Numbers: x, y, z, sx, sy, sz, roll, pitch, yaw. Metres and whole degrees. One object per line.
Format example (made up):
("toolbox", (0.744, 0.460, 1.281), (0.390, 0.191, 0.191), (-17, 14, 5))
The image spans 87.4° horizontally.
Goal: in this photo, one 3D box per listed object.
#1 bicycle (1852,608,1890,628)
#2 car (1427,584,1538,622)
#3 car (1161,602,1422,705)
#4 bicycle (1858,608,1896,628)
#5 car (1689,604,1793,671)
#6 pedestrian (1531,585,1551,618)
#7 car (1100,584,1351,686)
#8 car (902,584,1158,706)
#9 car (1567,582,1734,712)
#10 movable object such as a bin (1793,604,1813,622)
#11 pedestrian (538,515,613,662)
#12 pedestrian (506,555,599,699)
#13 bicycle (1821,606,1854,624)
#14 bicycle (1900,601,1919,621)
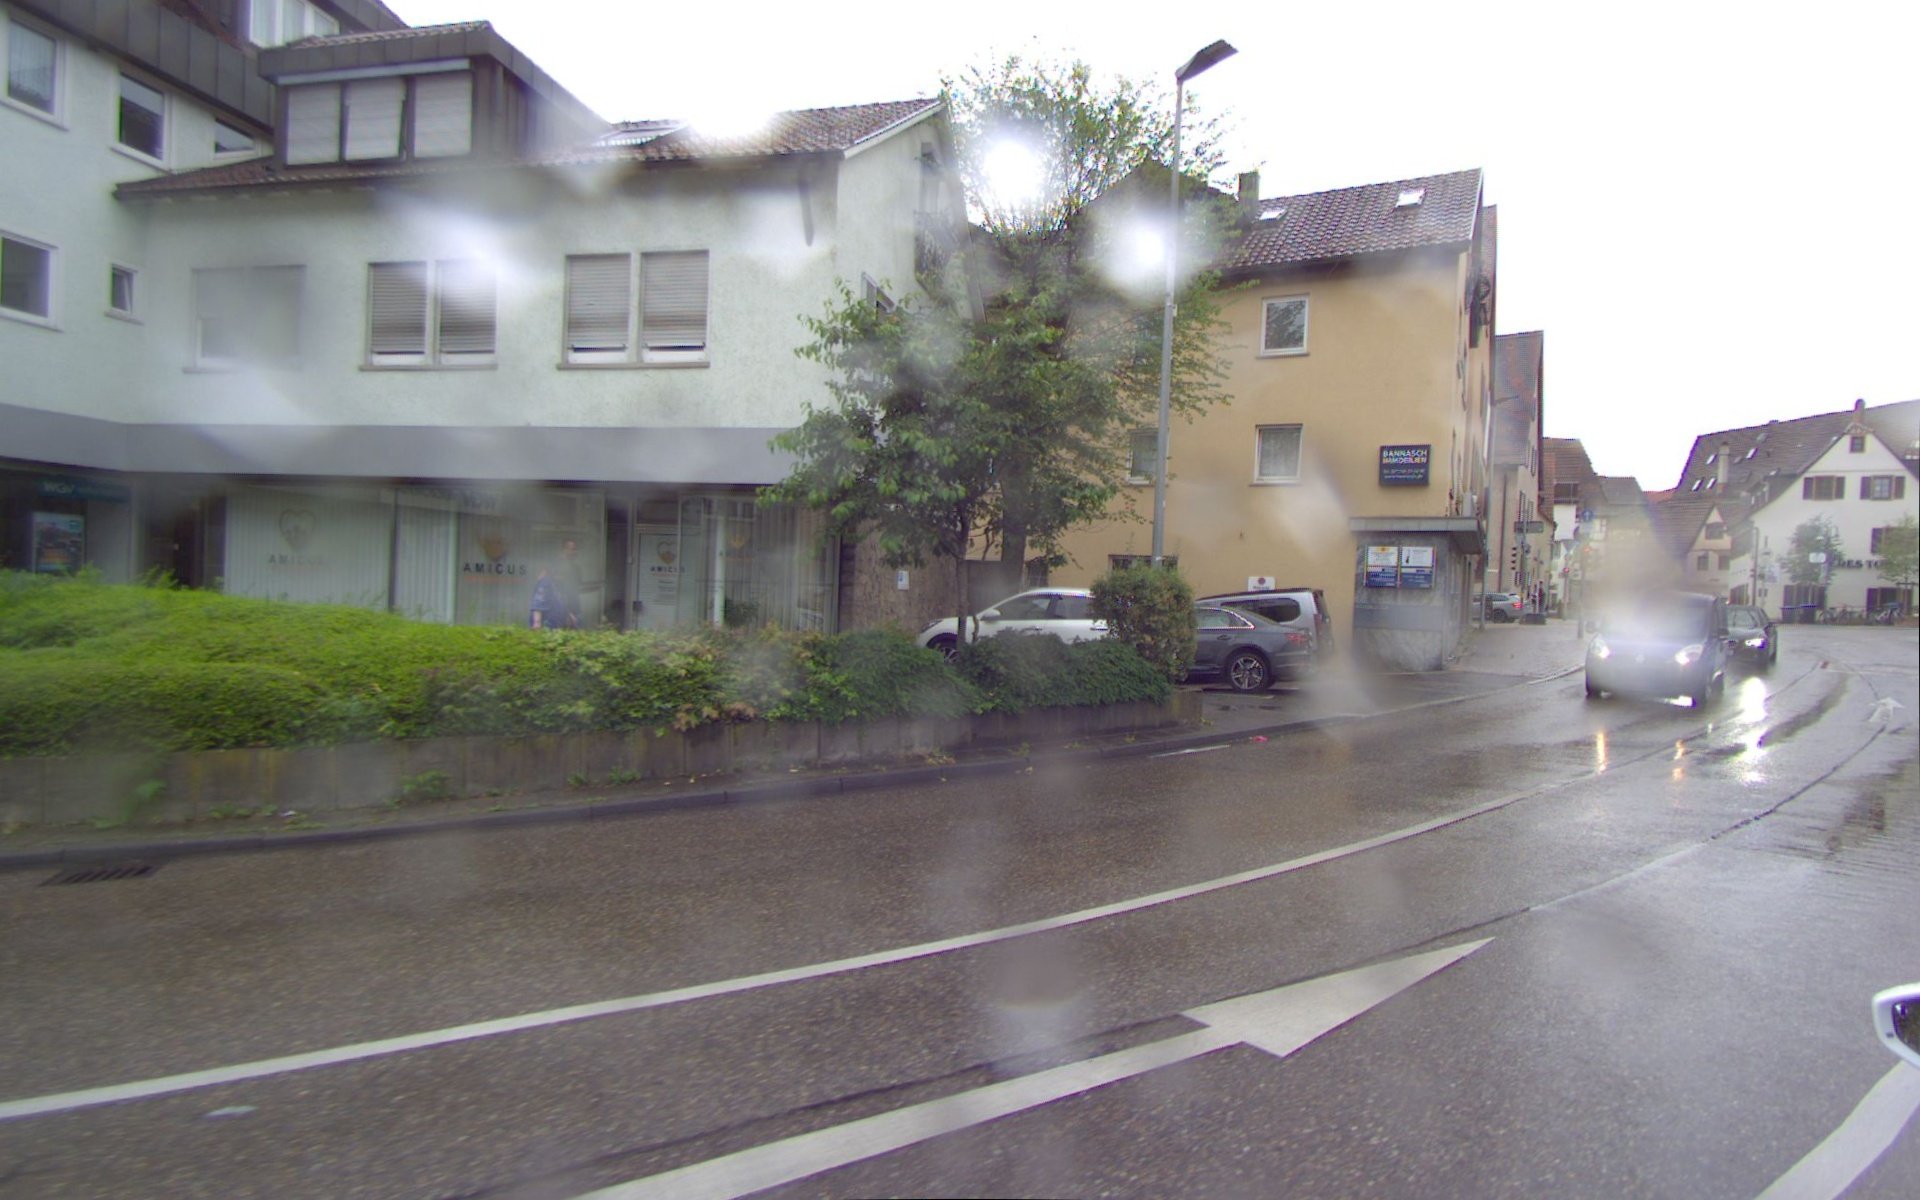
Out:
("bicycle", (44.720, 0.887, 49.321), (1.441, 0.924, 0.392), (1, 1, 0))
("car", (24.970, 0.111, 48.057), (4.407, 1.612, 1.992), (3, 1, 37))
("car", (5.519, 0.822, 16.789), (3.923, 1.473, 1.899), (1, -1, 23))
("bicycle", (44.582, 0.883, 48.851), (1.441, 0.924, 0.392), (1, 1, 0))
("car", (19.107, 0.841, 24.511), (1.839, 1.406, 4.242), (2, 1, 40))
("pedestrian", (33.105, 0.071, 57.239), (0.783, 1.855, 0.714), (-2, 1, 15))
("car", (5.714, 0.774, 21.726), (4.845, 1.849, 1.960), (-4, 0, 27))
("car", (1.146, 0.635, 15.799), (3.573, 1.651, 2.000), (2, 1, 19))
("car", (12.311, 0.682, 17.793), (1.970, 1.907, 4.355), (2, 3, 40))
("movable object such as a bin", (42.759, 0.659, 50.957), (0.576, 0.914, 0.584), (1, 2, 14))
("pedestrian", (-4.967, -0.148, 12.993), (0.659, 1.844, 0.618), (2, 1, 8))
("pedestrian", (-4.981, 0.312, 12.305), (0.845, 1.694, 0.618), (2, 1, 8))
("bicycle", (43.103, 0.730, 49.337), (1.410, 0.830, 0.338), (0, 4, -8))
("bicycle", (46.748, 0.524, 48.871), (1.440, 0.924, 0.393), (1, 4, 13))
